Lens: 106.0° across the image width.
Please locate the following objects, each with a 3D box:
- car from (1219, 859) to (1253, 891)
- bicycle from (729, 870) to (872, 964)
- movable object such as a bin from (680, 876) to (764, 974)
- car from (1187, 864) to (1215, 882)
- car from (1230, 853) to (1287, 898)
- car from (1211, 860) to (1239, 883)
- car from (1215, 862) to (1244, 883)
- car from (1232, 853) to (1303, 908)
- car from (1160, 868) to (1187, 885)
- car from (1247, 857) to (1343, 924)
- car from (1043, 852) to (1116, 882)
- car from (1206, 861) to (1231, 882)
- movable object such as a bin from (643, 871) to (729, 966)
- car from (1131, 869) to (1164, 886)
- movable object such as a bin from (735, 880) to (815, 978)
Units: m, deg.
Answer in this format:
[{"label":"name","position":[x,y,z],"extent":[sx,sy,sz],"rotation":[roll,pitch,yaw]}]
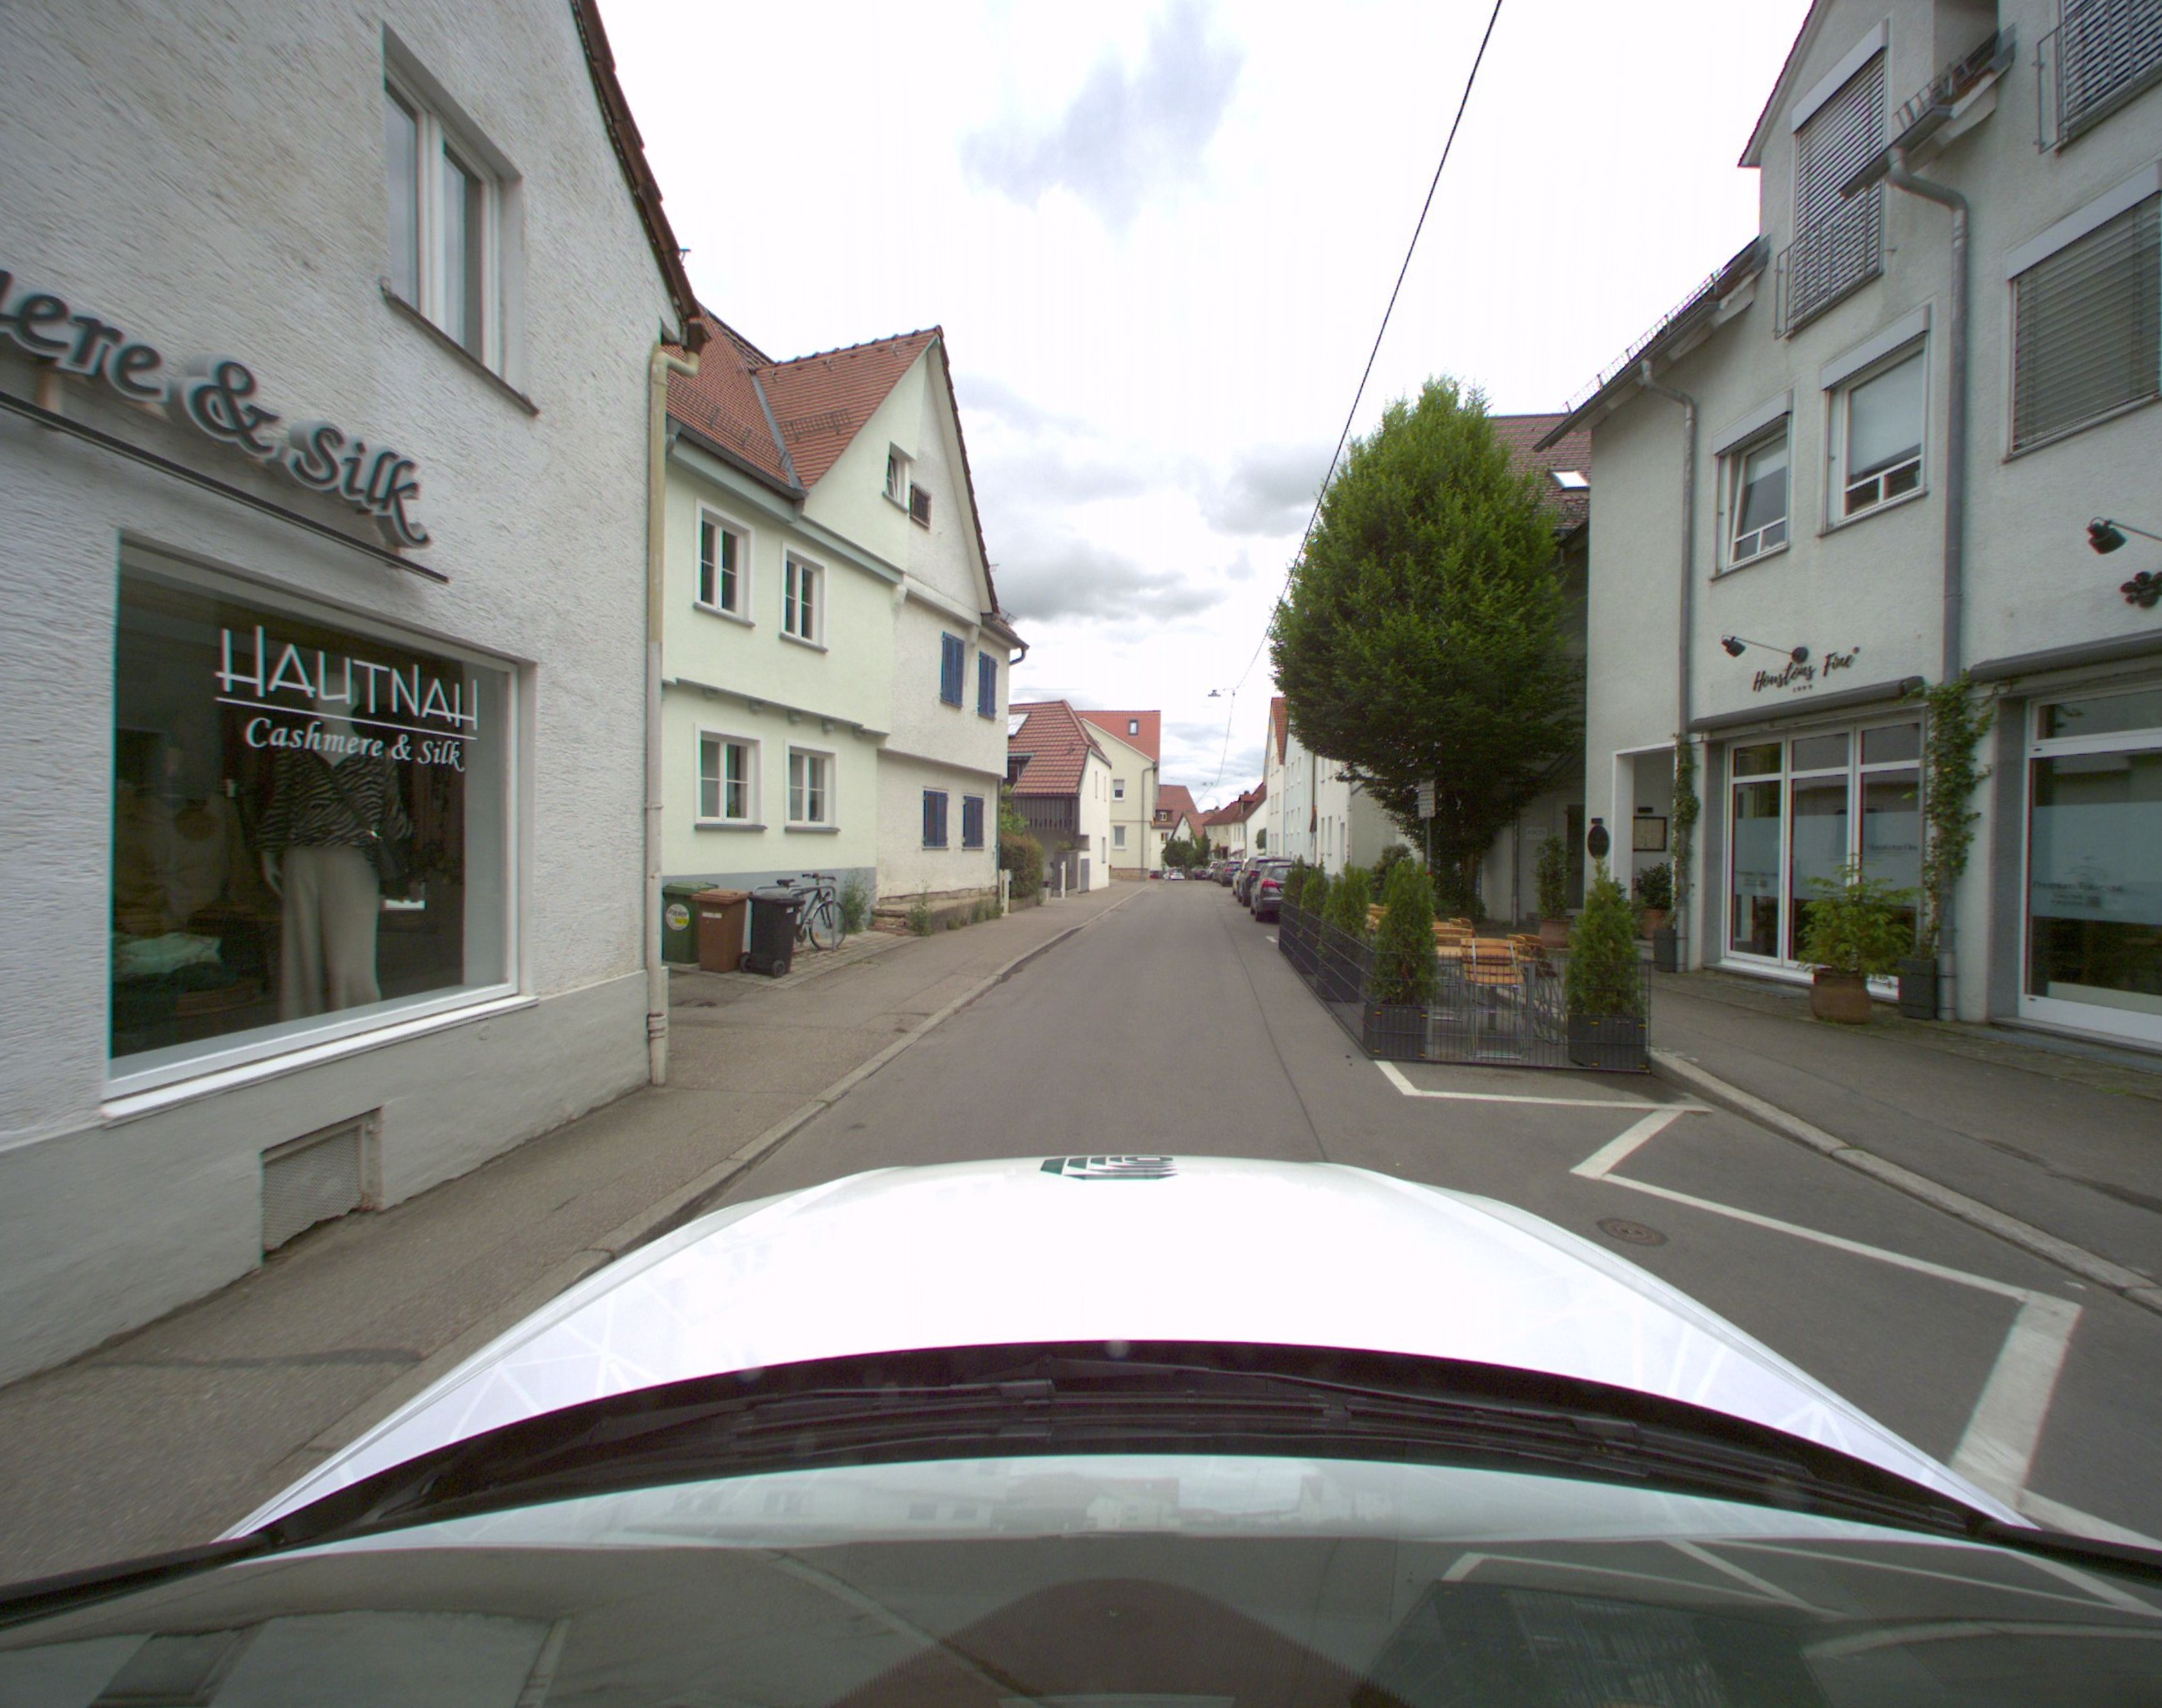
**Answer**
[{"label":"car","position":[8.731,1.146,46.194],"extent":[1.743,1.628,4.546],"rotation":[2,0,9]},{"label":"bicycle","position":[-3.638,0.778,10.779],"extent":[0.438,1.039,2.103],"rotation":[5,2,22]},{"label":"movable object such as a bin","position":[-4.127,0.794,9.389],"extent":[0.565,0.999,0.602],"rotation":[6,3,17]},{"label":"car","position":[12.054,1.917,82.202],"extent":[1.990,1.713,3.993],"rotation":[0,-3,-4]},{"label":"car","position":[7.112,0.814,33.093],"extent":[1.982,1.615,4.891],"rotation":[2,0,9]},{"label":"car","position":[10.823,1.337,61.369],"extent":[1.727,1.610,4.006],"rotation":[4,-1,6]},{"label":"car","position":[10.187,1.316,56.177],"extent":[1.787,1.352,4.083],"rotation":[1,-2,8]},{"label":"car","position":[6.141,0.820,27.272],"extent":[1.853,1.633,4.911],"rotation":[1,0,7]},{"label":"car","position":[10.364,2.499,91.446],"extent":[1.962,1.713,3.987],"rotation":[1,0,-10]},{"label":"car","position":[5.453,0.852,21.313],"extent":[1.937,1.508,4.832],"rotation":[1,0,9]},{"label":"car","position":[-0.062,0.746,46.414],"extent":[3.706,1.411,2.127],"rotation":[4,-1,12]},{"label":"car","position":[12.001,1.543,71.349],"extent":[1.864,1.713,4.153],"rotation":[1,-2,5]},{"label":"movable object such as a bin","position":[-4.674,0.746,9.662],"extent":[0.551,0.999,0.625],"rotation":[7,2,17]},{"label":"car","position":[7.890,2.801,97.226],"extent":[2.005,1.684,3.964],"rotation":[-4,-2,-27]},{"label":"movable object such as a bin","position":[-3.535,0.847,9.422],"extent":[0.549,0.999,0.589],"rotation":[6,3,18]}]
